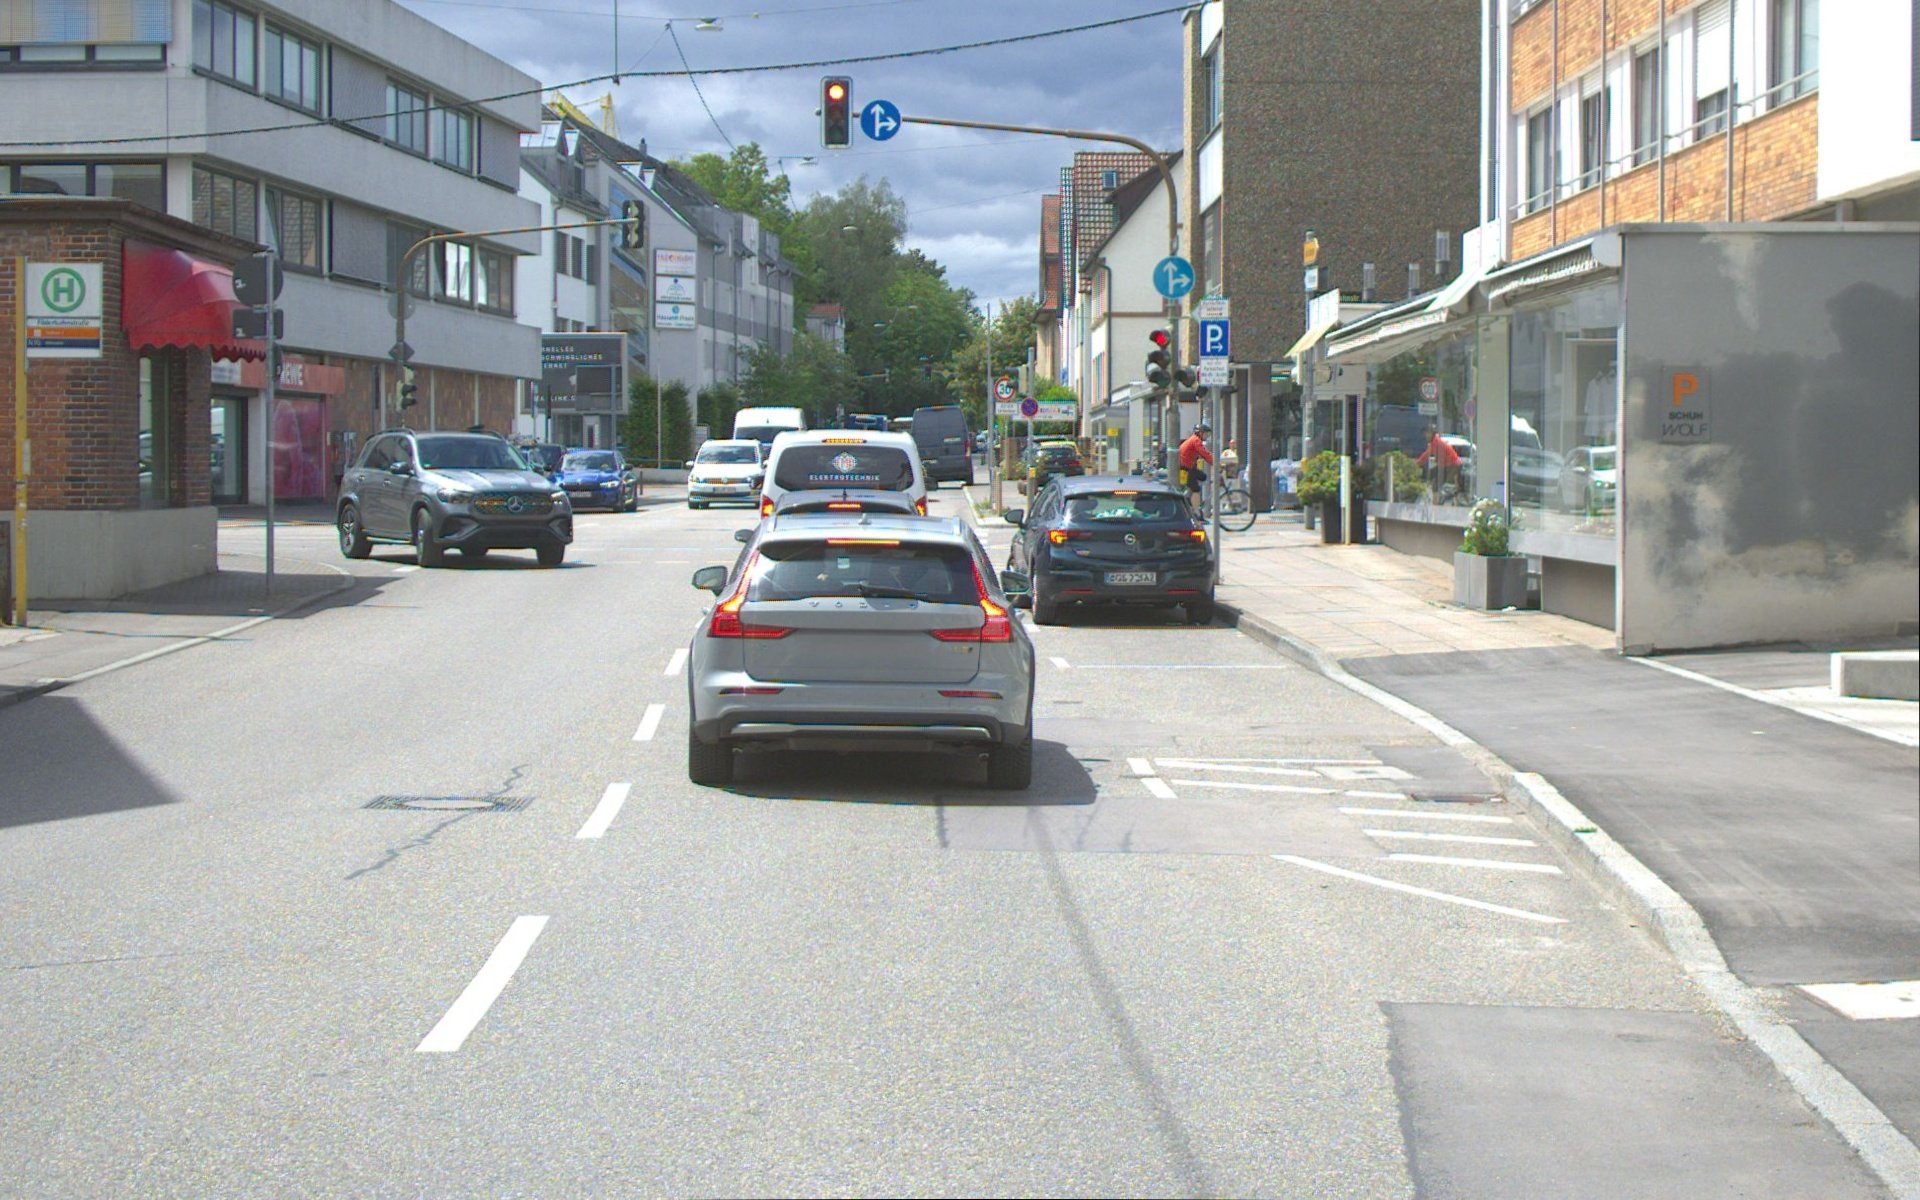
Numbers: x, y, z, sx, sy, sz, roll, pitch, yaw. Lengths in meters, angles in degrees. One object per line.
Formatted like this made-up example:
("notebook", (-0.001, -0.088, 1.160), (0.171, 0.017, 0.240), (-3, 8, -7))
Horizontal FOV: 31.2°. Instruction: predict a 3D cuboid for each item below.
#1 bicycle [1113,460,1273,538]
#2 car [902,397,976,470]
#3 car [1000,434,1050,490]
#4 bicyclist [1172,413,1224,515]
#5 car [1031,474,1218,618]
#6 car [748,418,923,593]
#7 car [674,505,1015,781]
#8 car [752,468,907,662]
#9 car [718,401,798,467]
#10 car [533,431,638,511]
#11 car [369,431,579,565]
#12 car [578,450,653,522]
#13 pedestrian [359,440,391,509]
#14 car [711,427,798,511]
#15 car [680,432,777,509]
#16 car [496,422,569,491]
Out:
("bicycle", (3.744, -1.628, 55.375), (2.524, 1.170, 0.585), (2, 1, 3))
("car", (-0.734, -5.751, 119.311), (2.436, 2.310, 5.327), (2, 1, -1))
("car", (2.493, -5.317, 132.826), (1.802, 2.007, 4.000), (0, 0, 0))
("bicyclist", (3.833, -2.189, 55.395), (0.772, 1.601, 0.580), (2, 0, 3))
("car", (1.629, -0.591, 35.210), (1.753, 1.366, 4.000), (1, 2, 1))
("car", (-1.358, -1.038, 38.858), (1.836, 1.855, 3.850), (1, 1, 0))
("car", (-0.607, 0.196, 19.581), (1.744, 1.412, 4.000), (0, 1, -1))
("car", (-1.100, -0.347, 29.849), (1.273, 1.522, 3.051), (0, 4, -1))
("car", (-5.632, -4.624, 96.187), (1.873, 1.634, 4.000), (0, 0, 2))
("car", (-8.503, -2.918, 78.380), (1.873, 1.634, 4.000), (2, 0, 0))
("car", (-6.581, -1.340, 46.226), (1.839, 1.720, 4.353), (0, 1, -21))
("car", (-10.339, -3.393, 103.372), (1.993, 2.007, 4.000), (2, 0, -3))
("pedestrian", (-12.144, -2.598, 71.415), (0.514, 1.431, 0.489), (0, 1, 10))
("car", (-5.279, -3.358, 88.815), (1.993, 2.007, 4.000), (2, 0, -1))
("car", (-5.481, -3.061, 81.845), (1.873, 1.634, 4.000), (2, 0, 2))
("car", (-10.419, -3.488, 83.893), (1.384, 1.535, 3.399), (0, 0, 0))
